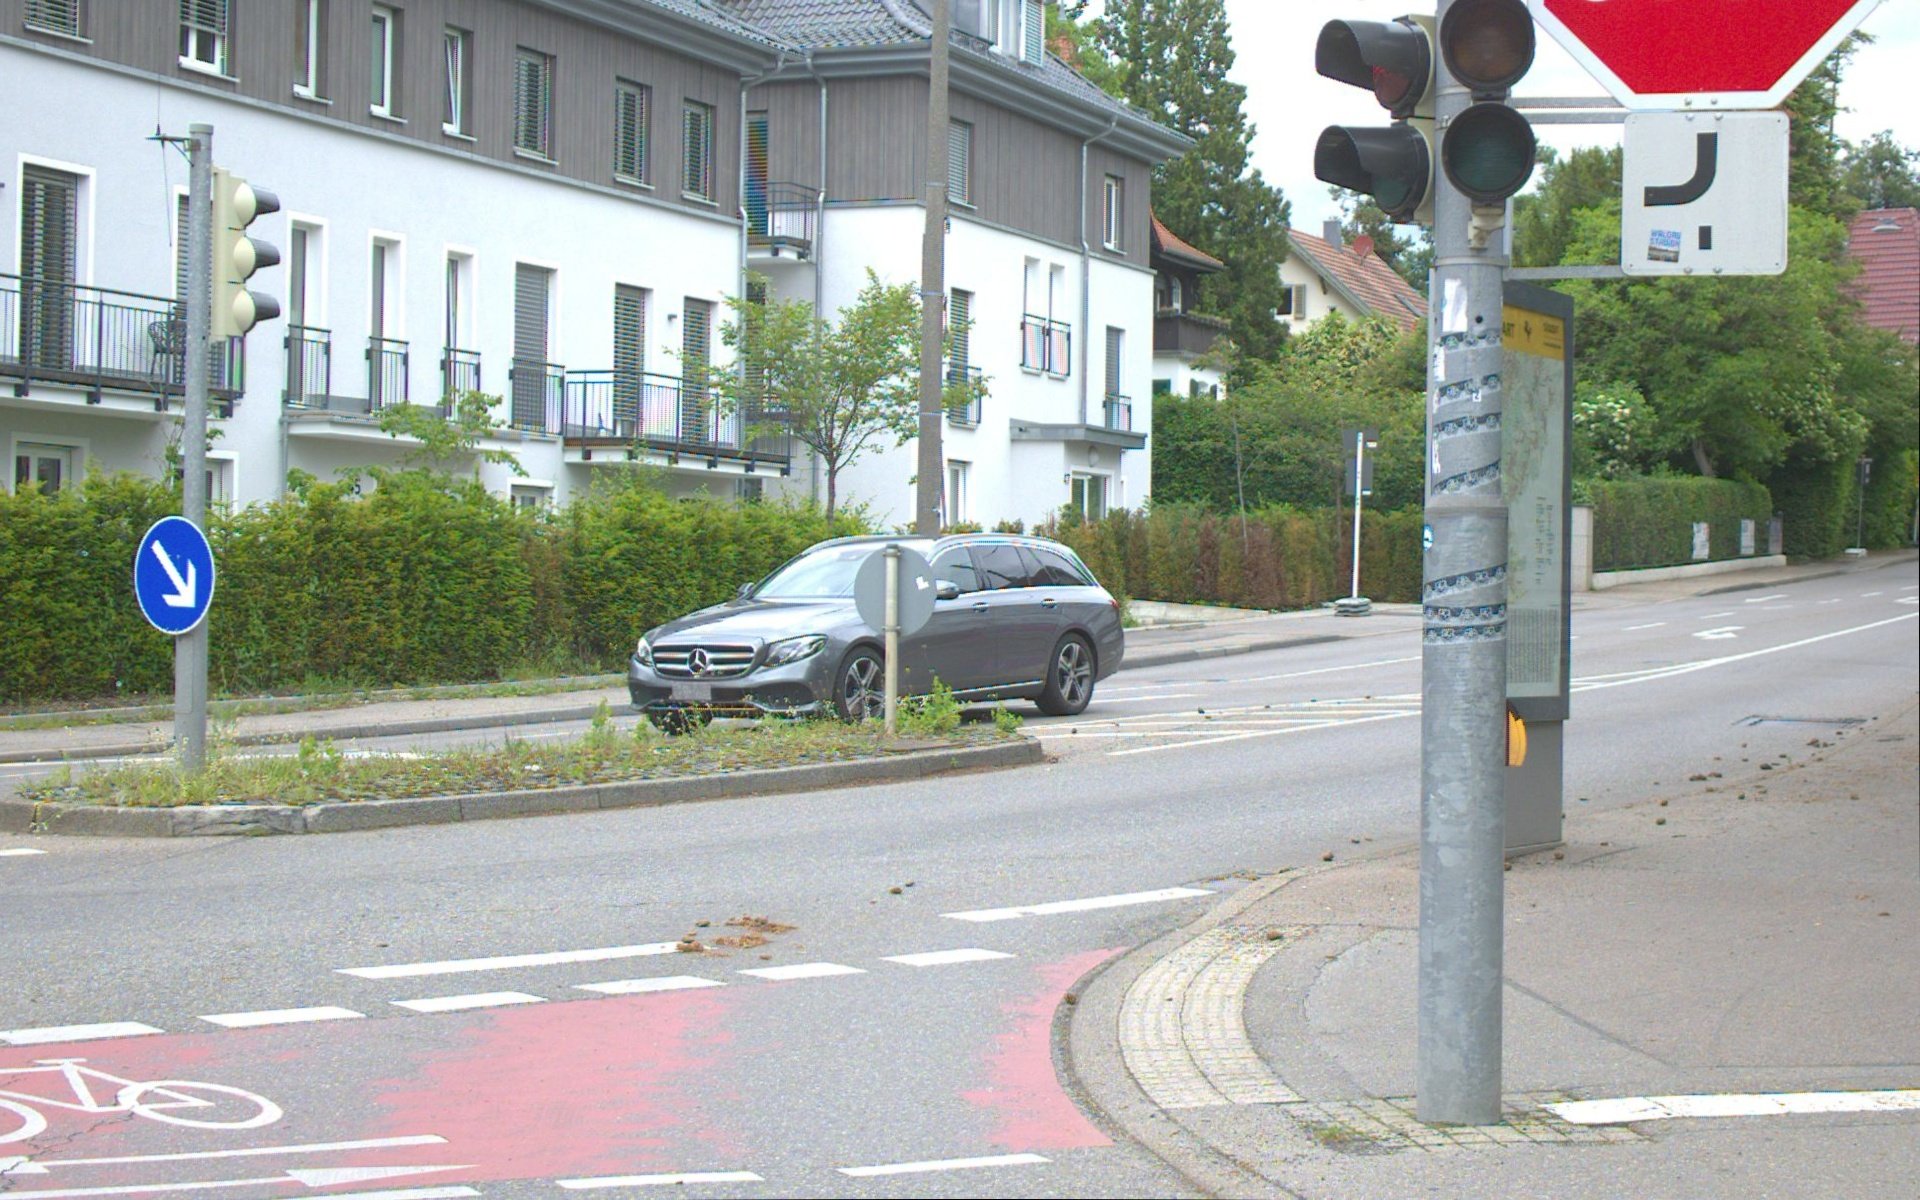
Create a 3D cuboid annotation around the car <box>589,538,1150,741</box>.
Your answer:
[{"bbox_3d":[-0.590,0.236,26.658,1.942,1.399,4.733,1,2,34],"label":"car"}]
